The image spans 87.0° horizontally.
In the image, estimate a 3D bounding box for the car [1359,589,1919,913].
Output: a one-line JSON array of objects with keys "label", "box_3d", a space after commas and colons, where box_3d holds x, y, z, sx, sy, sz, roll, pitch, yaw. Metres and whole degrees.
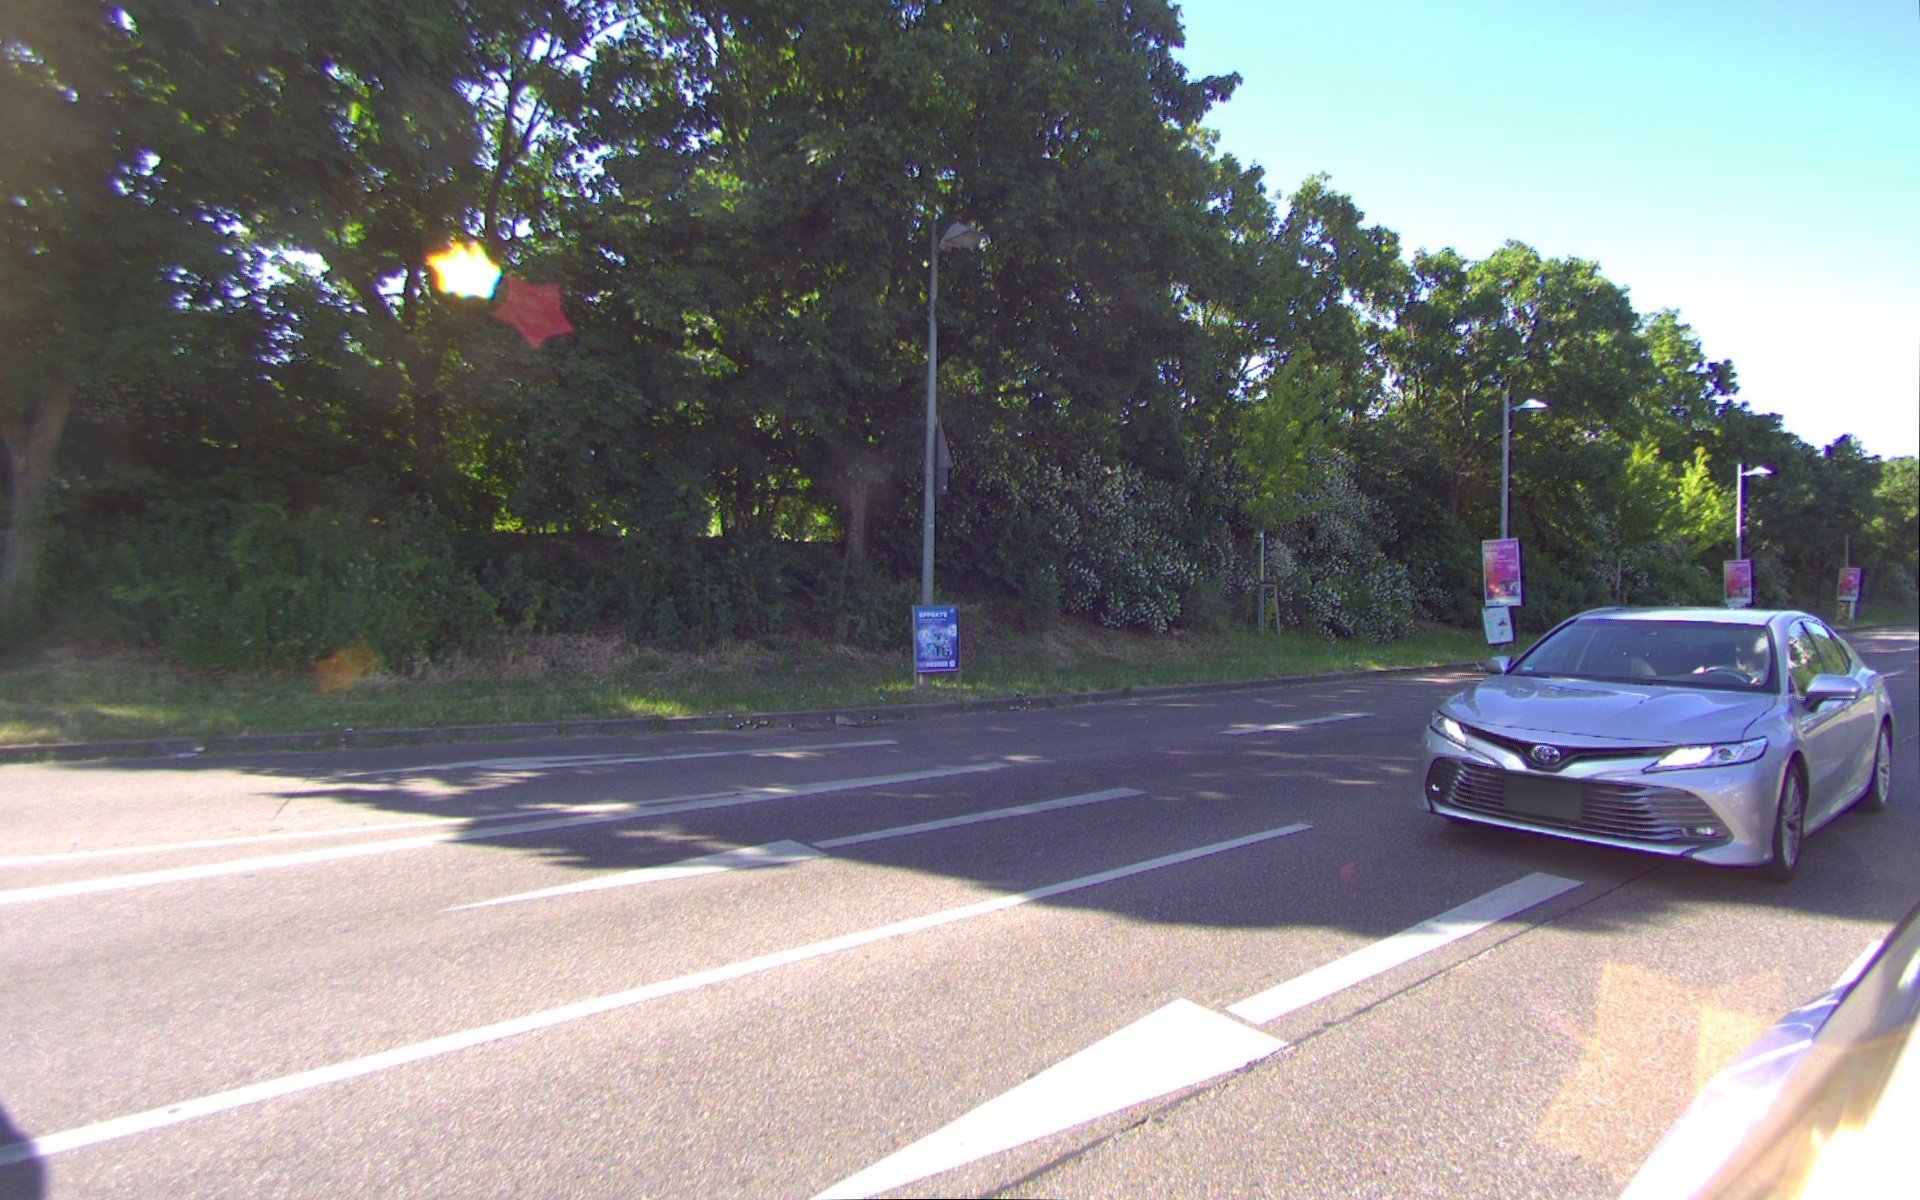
[{"label": "car", "box_3d": [4.949, 0.689, 7.031, 4.664, 1.477, 2.069, 0, 2, -40]}]
